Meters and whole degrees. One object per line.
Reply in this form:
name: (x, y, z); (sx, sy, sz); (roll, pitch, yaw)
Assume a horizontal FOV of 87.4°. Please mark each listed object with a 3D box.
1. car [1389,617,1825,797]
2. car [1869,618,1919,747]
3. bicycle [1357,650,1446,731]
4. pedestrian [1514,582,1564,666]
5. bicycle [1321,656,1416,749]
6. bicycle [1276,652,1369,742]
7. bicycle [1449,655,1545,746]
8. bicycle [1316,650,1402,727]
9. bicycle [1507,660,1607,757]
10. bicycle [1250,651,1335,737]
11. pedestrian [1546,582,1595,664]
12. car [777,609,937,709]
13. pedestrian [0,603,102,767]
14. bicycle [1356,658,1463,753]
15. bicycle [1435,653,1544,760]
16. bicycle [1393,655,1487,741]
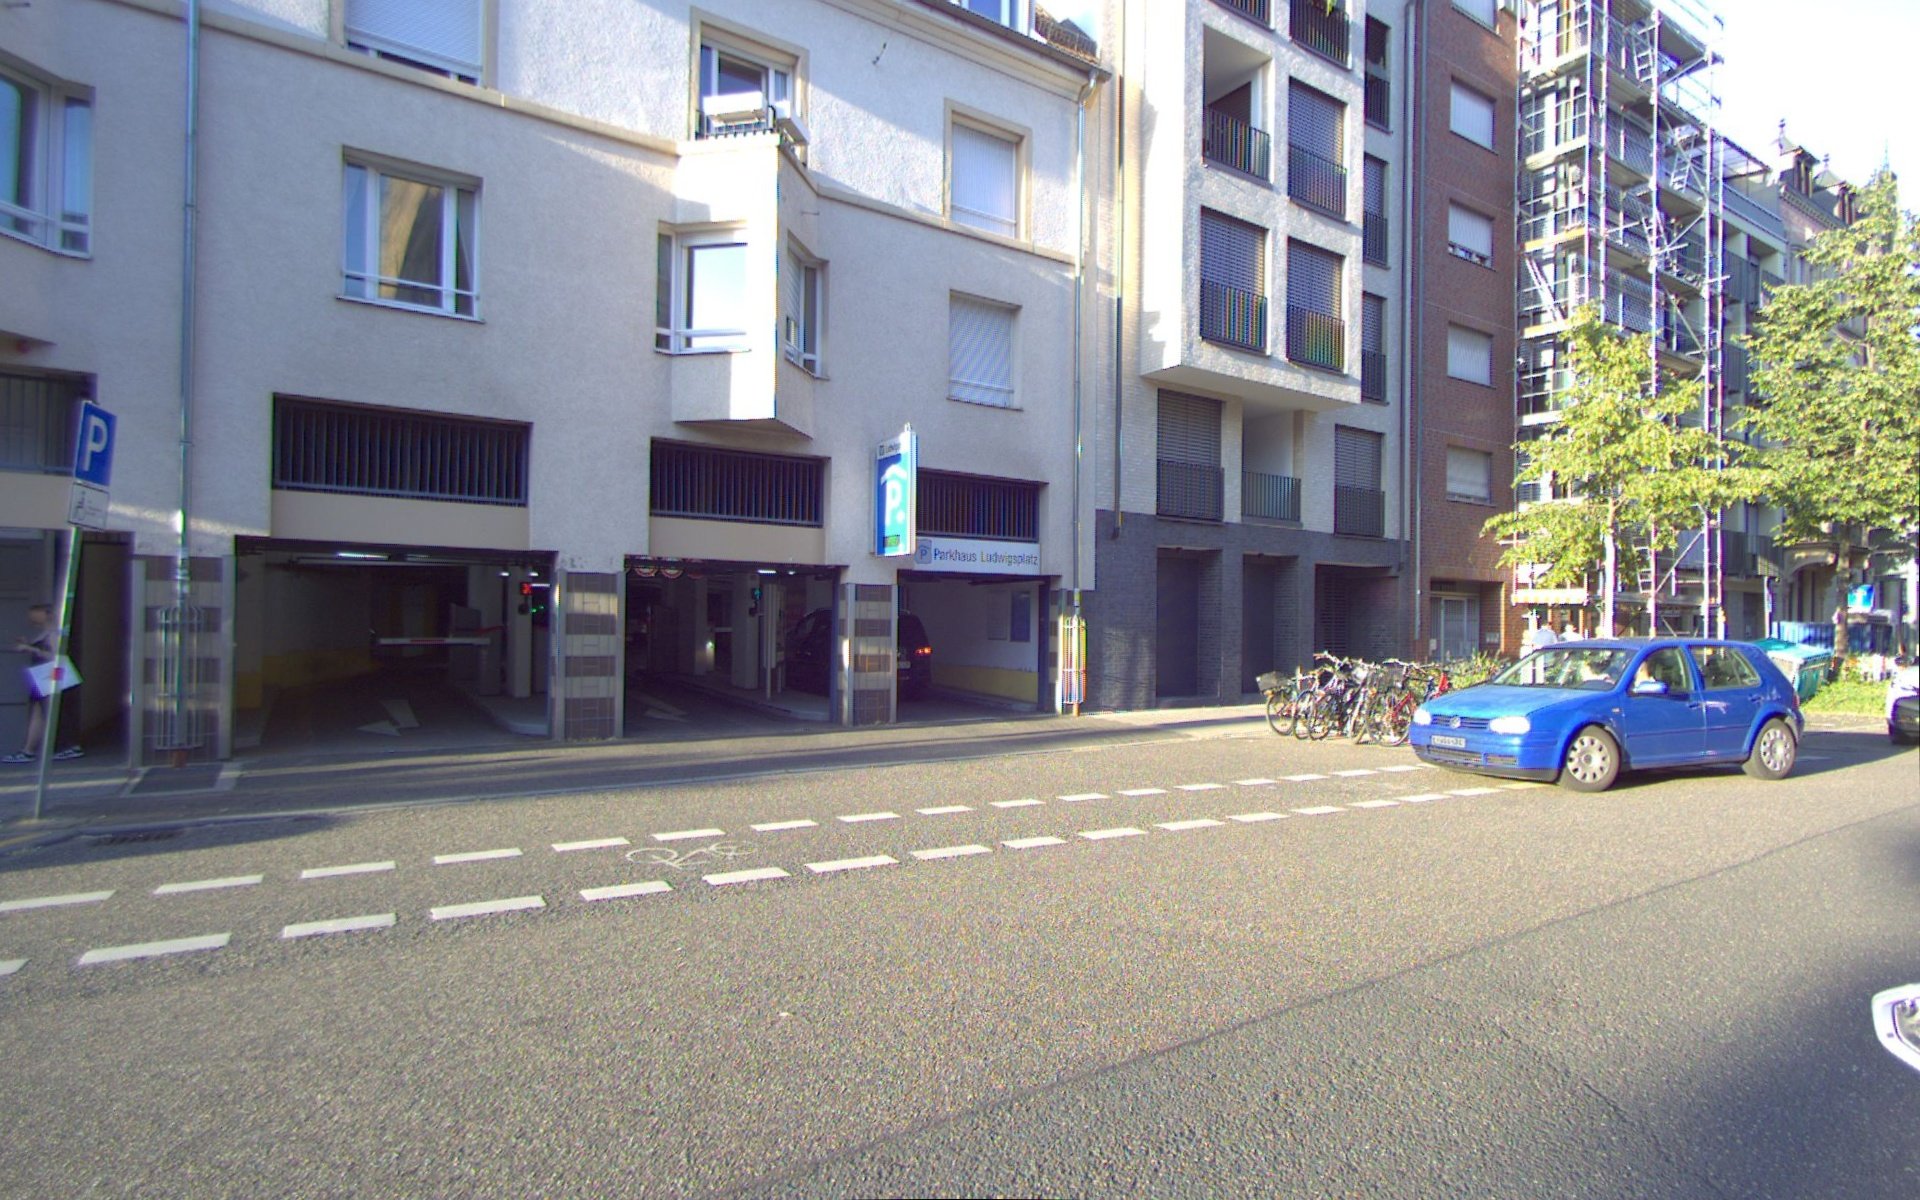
car: (6.658, 1.010, 10.373); (4.056, 1.583, 1.686); (1, -2, -20)
car: (14.788, 1.145, 14.382); (4.282, 1.719, 1.859); (2, -4, -38)
bicycle: (6.666, 1.343, 15.152); (1.535, 1.159, 0.464); (2, -1, -33)
pedestrian: (12.845, 0.533, 22.292); (0.649, 1.807, 0.737); (1, -2, -32)
bicycle: (5.532, 1.355, 13.567); (1.535, 1.175, 0.378); (2, -1, -33)
bicycle: (5.141, 1.349, 14.219); (1.535, 1.205, 0.384); (2, -1, -33)
bicycle: (7.455, 1.361, 13.927); (1.535, 1.178, 0.484); (2, -1, -33)
bicycle: (6.253, 1.364, 15.715); (1.535, 1.147, 0.454); (2, -1, -33)
bicycle: (7.887, 1.399, 13.250); (1.535, 1.194, 0.504); (2, -1, -33)
bicycle: (4.877, 1.347, 14.689); (1.390, 1.199, 0.385); (2, -1, -33)
pedestrian: (13.664, 0.522, 22.471); (0.650, 1.807, 0.737); (1, -2, -34)
car: (-2.042, 1.025, 18.967); (1.543, 1.639, 3.849); (1, -1, -30)
pedestrian: (-9.265, 0.842, 10.222); (0.773, 1.593, 0.527); (2, -2, -42)
bicycle: (5.883, 1.348, 13.124); (1.532, 1.172, 0.415); (1, -1, -28)
bicycle: (6.546, 1.278, 12.395); (1.535, 1.237, 0.494); (2, -1, -33)
bicycle: (6.938, 1.393, 14.500); (1.535, 1.165, 0.484); (2, -1, -33)
